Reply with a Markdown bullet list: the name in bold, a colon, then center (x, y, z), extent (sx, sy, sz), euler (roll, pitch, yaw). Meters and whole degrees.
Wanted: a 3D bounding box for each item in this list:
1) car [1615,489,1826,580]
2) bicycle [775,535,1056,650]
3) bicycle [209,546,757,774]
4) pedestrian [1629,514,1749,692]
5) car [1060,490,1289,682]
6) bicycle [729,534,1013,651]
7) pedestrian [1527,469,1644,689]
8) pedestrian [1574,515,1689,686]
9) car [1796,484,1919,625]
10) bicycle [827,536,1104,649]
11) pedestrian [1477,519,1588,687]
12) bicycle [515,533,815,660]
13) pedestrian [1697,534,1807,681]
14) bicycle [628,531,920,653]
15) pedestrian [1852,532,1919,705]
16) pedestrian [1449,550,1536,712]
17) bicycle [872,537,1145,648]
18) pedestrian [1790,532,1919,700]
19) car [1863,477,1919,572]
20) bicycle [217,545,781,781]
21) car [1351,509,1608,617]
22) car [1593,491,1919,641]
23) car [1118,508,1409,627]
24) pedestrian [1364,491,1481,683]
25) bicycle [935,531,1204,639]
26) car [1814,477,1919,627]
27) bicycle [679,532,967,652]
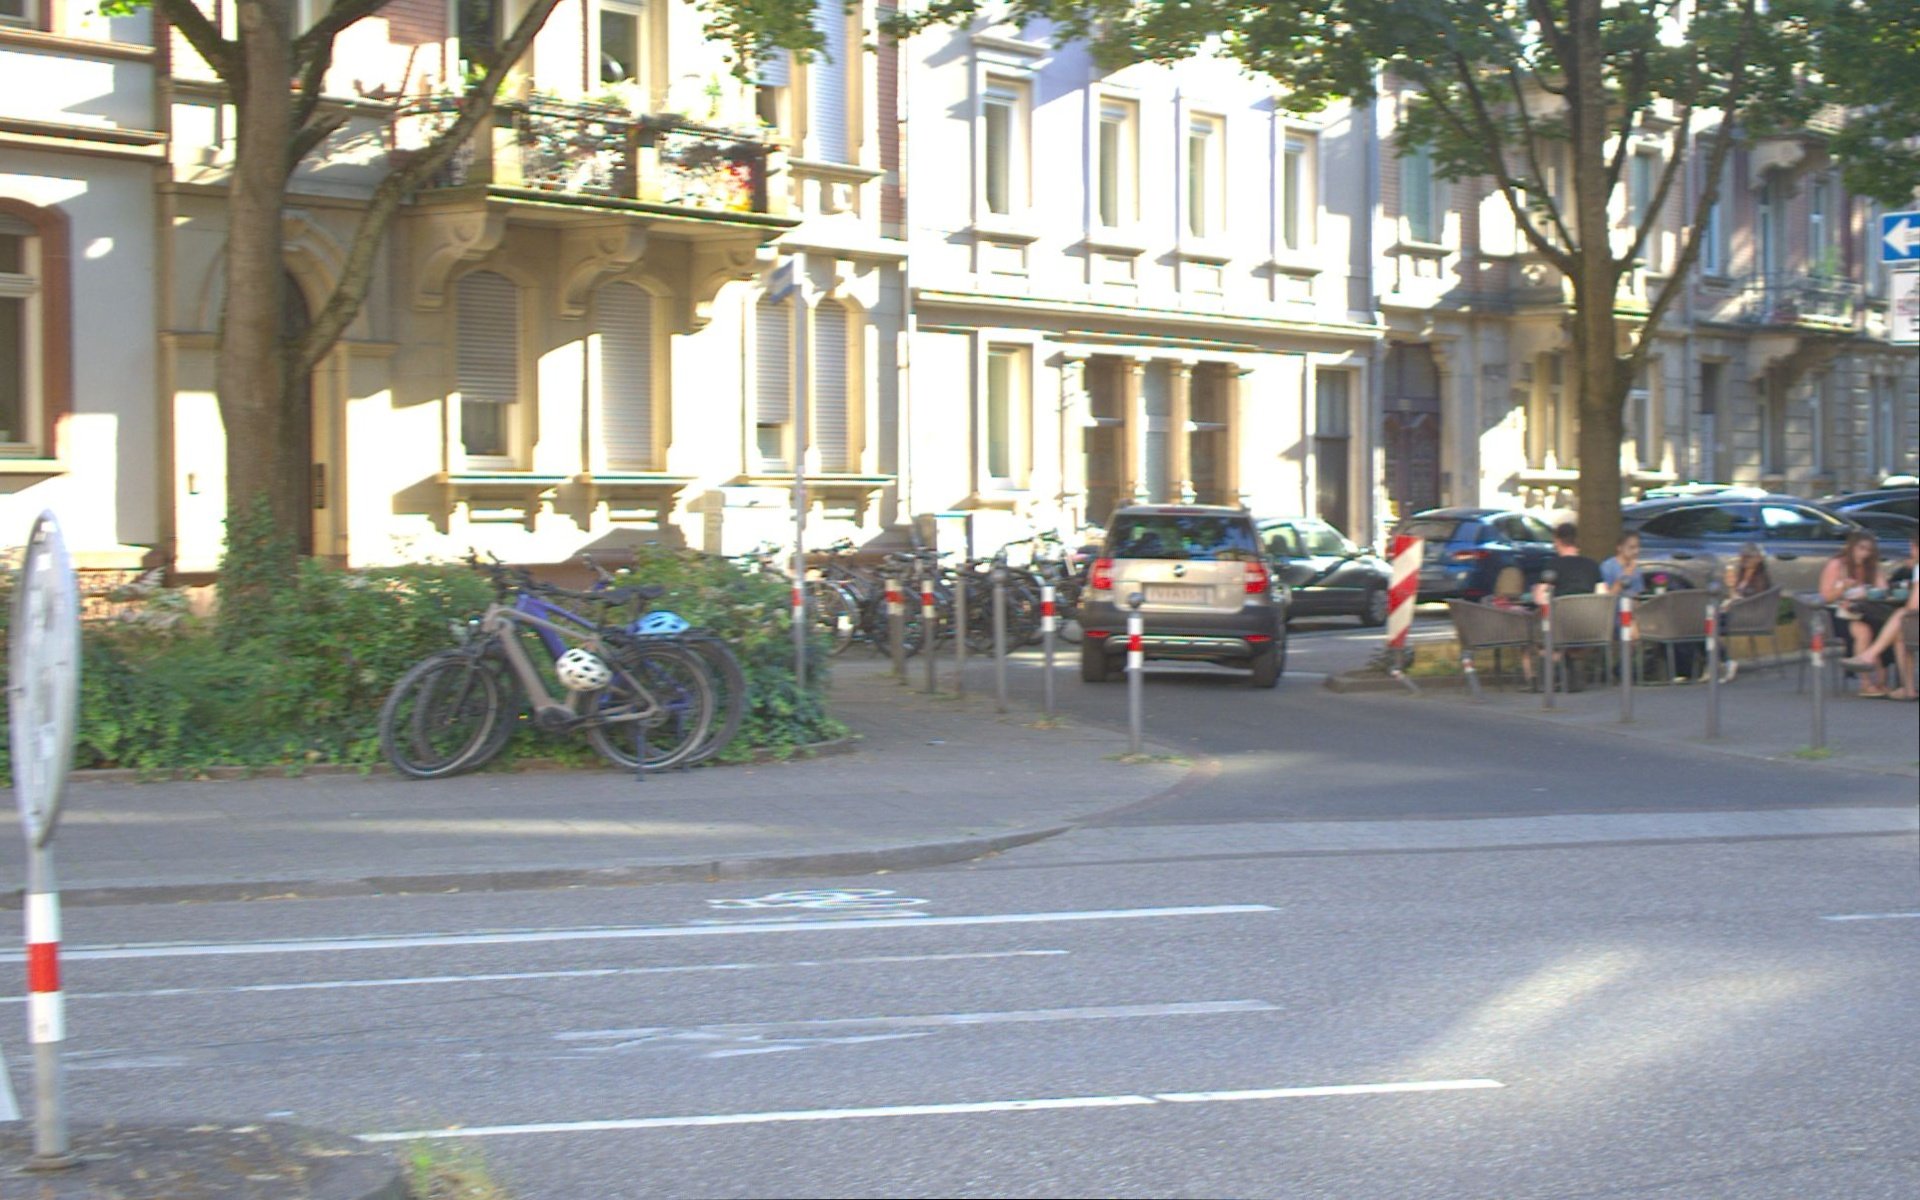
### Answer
- **car**: center (11.980, -1.049, 54.032), extent (1.927, 1.371, 3.744), euler (1, 2, 36)
- **bicycle**: center (-0.497, -0.100, 36.539), extent (3.133, 1.176, 0.750), euler (1, 2, 35)
- **bicycle**: center (-2.630, 0.311, 19.049), extent (2.948, 1.192, 0.548), euler (-1, 1, -16)
- **pedestrian**: center (6.023, 0.018, 28.436), extent (0.764, 1.437, 0.668), euler (-1, 0, -8)
- **car**: center (2.053, -0.175, 32.169), extent (1.994, 1.678, 4.000), euler (0, 1, 5)
- **bicycle**: center (-0.954, -0.100, 35.871), extent (3.133, 1.176, 0.750), euler (1, 2, 35)
- **pedestrian**: center (5.113, -0.176, 28.116), extent (0.764, 1.764, 0.572), euler (-1, 0, -8)
- **pedestrian**: center (5.744, 0.002, 29.432), extent (0.764, 1.437, 0.668), euler (-1, 0, -8)
- **car**: center (12.299, -0.570, 41.838), extent (3.988, 1.678, 1.999), euler (0, 1, 10)
- **bicycle**: center (0.033, -0.099, 37.196), extent (3.133, 1.176, 0.750), euler (1, 2, 35)
- **pedestrian**: center (4.905, 0.025, 29.495), extent (0.764, 1.407, 0.668), euler (-1, 0, -6)
- **bicycle**: center (-2.874, -0.055, 33.173), extent (3.133, 1.176, 0.750), euler (1, 2, 35)
- **pedestrian**: center (6.683, 0.058, 29.020), extent (0.675, 1.211, 0.668), euler (-1, 0, -9)
- **bicycle**: center (-1.894, -0.097, 34.552), extent (3.133, 1.176, 0.750), euler (1, 2, 35)
- **pedestrian**: center (7.235, 0.124, 25.438), extent (0.746, 1.244, 1.025), euler (-2, 2, -23)
- **pedestrian**: center (4.432, 0.250, 28.621), extent (0.570, 1.315, 0.505), euler (-1, 2, -9)
- **bicycle**: center (0.515, -0.099, 37.890), extent (3.133, 1.176, 0.750), euler (1, 2, 35)
- **pedestrian**: center (6.877, 0.111, 26.275), extent (0.746, 1.244, 0.707), euler (-2, 2, -22)
- **car**: center (17.951, -1.377, 62.353), extent (1.810, 1.678, 3.744), euler (1, 2, 36)
- **bicycle**: center (-2.464, 0.315, 18.477), extent (2.948, 1.192, 0.548), euler (-1, 1, -16)
- **car**: center (7.044, -0.528, 46.369), extent (1.927, 1.371, 3.744), euler (1, 2, 36)
- **car**: center (8.801, -0.372, 36.772), extent (3.824, 1.556, 1.803), euler (0, 1, 5)
- **car**: center (3.776, -0.432, 42.271), extent (1.927, 1.371, 3.744), euler (1, 2, 36)
- **pedestrian**: center (4.083, -0.118, 30.354), extent (0.764, 1.664, 0.668), euler (-1, 0, -22)
- **bicycle**: center (1.215, -0.185, 38.790), extent (3.133, 1.176, 0.750), euler (1, 2, 35)
- **car**: center (11.868, -0.566, 39.158), extent (3.991, 1.678, 1.998), euler (0, 2, 19)
- **bicycle**: center (-1.427, -0.100, 35.188), extent (3.133, 1.176, 0.750), euler (1, 2, 35)
